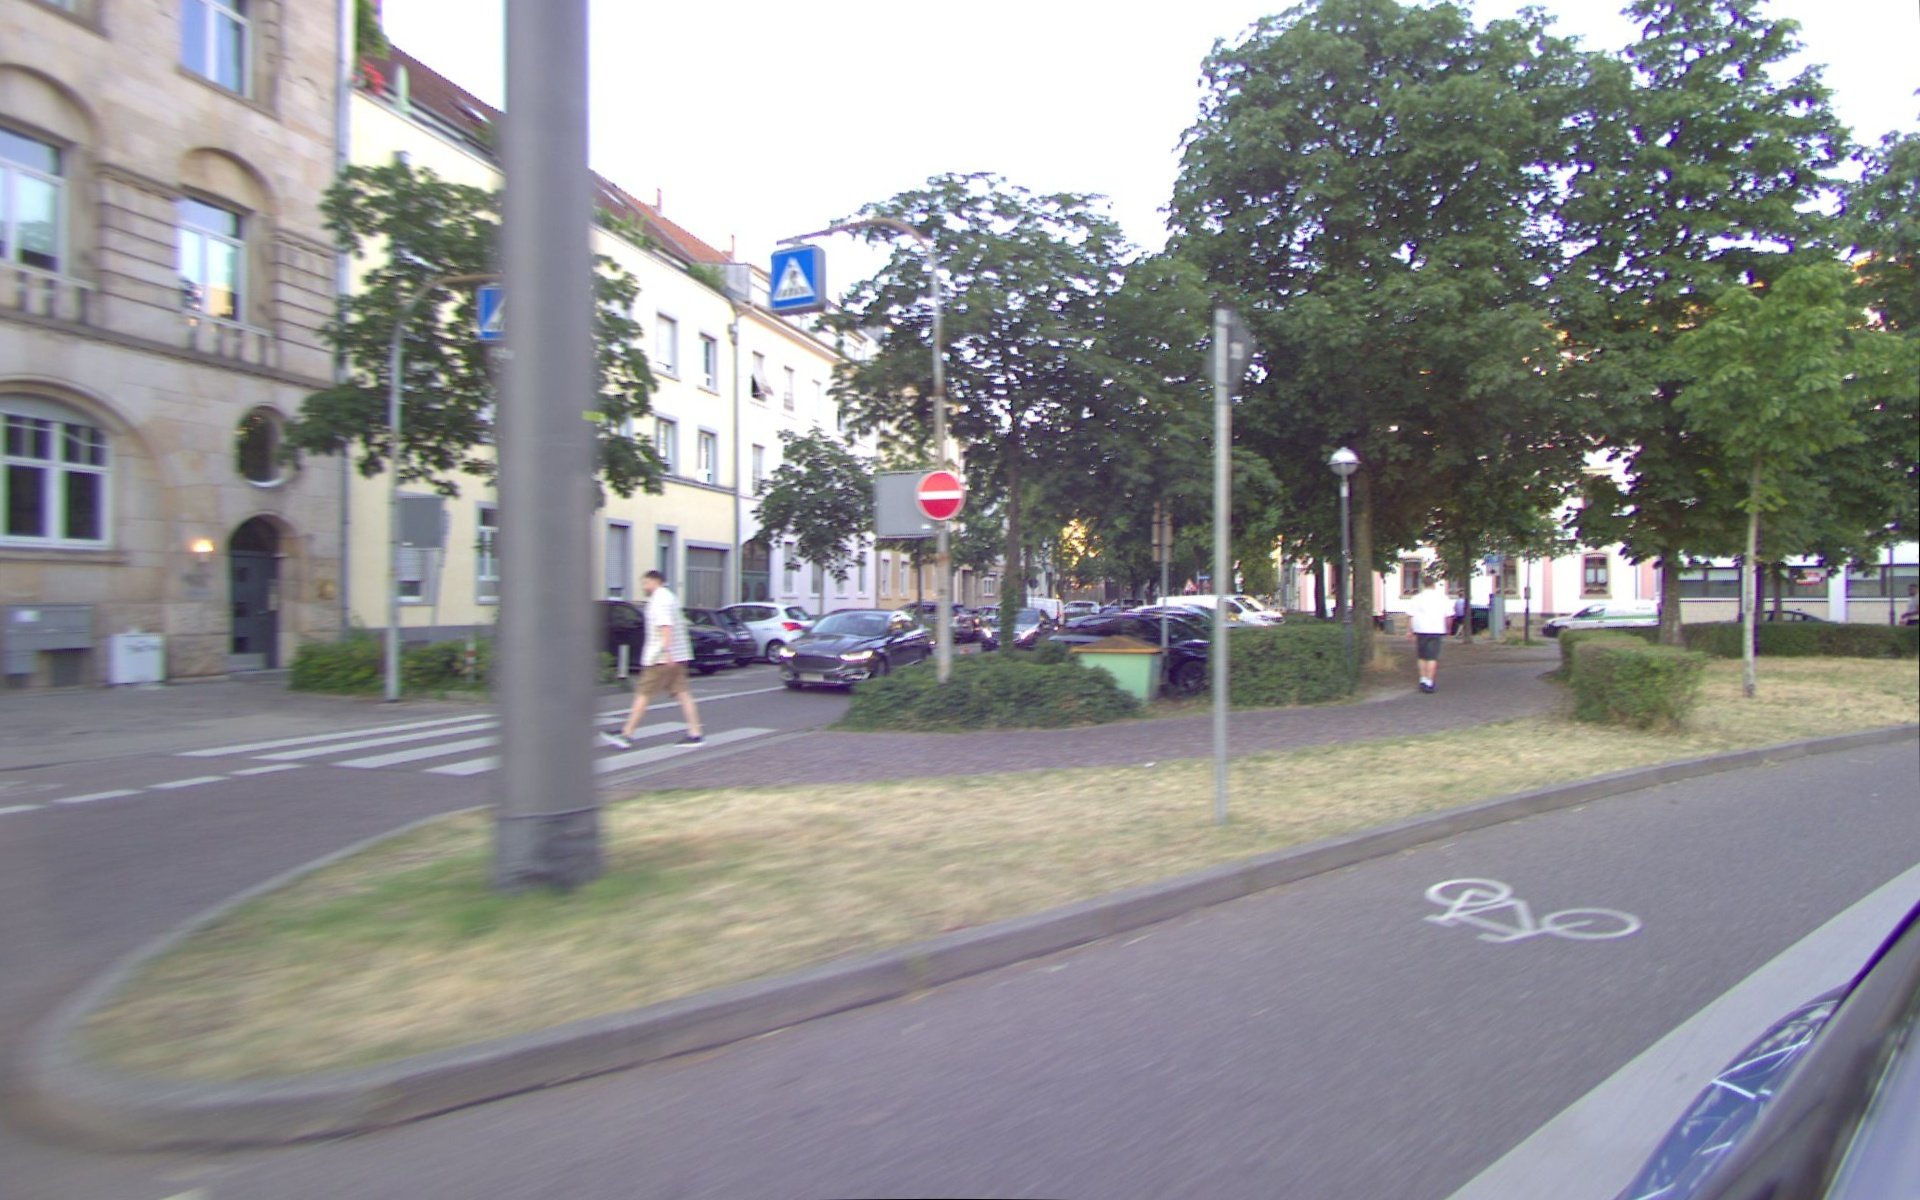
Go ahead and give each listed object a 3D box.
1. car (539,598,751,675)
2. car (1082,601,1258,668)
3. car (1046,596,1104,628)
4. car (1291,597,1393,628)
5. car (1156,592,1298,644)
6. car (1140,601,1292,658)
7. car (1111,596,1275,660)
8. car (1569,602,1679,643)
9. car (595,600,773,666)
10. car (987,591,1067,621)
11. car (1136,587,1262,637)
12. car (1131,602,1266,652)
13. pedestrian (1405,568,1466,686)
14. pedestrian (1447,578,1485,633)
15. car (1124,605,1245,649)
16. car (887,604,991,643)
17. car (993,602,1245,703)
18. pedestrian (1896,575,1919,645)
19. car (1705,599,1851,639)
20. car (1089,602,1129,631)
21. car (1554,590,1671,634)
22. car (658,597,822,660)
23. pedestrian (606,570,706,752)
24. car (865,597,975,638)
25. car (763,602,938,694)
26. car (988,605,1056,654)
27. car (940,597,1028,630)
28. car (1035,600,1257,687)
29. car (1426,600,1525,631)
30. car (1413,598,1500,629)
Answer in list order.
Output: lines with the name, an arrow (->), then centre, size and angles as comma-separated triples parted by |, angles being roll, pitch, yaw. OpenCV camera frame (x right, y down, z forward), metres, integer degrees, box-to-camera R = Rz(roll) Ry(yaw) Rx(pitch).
car -> -7.120, 0.775, 22.923 | 4.343, 1.578, 1.826 | 1, -1, 20
car -> 5.415, 0.847, 26.226 | 4.039, 1.571, 1.976 | 0, -1, 33
car -> 8.592, 0.906, 75.621 | 4.013, 2.323, 1.989 | 1, -1, 17
car -> 18.723, 0.582, 49.672 | 4.372, 1.437, 1.704 | 0, -1, 38
car -> 10.471, 0.666, 39.932 | 5.061, 1.927, 2.089 | 0, -1, 41
car -> 7.672, 0.842, 30.377 | 4.039, 1.571, 1.976 | 0, -1, 33
car -> 6.441, 0.744, 28.089 | 4.039, 1.639, 1.976 | 0, -1, 33
car -> 29.947, 0.977, 45.688 | 3.994, 1.747, 1.677 | 0, -1, 40
car -> -6.926, 0.799, 25.475 | 4.016, 1.504, 1.826 | 1, -1, 19
car -> 3.871, 0.359, 58.437 | 4.339, 1.633, 1.720 | 1, -1, 17
car -> 10.389, 0.502, 44.191 | 5.061, 2.048, 1.938 | 0, -1, 41
car -> 8.064, 0.884, 34.329 | 4.039, 1.571, 1.976 | 0, -1, 33
pedestrian -> 7.222, 0.393, 15.392 | 0.760, 1.738, 0.780 | 0, -1, 21
pedestrian -> 19.073, 0.224, 38.119 | 0.988, 2.039, 0.831 | 1, -1, -21
car -> 8.490, 0.989, 38.322 | 4.039, 1.571, 1.976 | 0, -1, 33
car -> -0.864, 0.984, 43.059 | 4.013, 1.571, 1.989 | 1, -1, 17
car -> 2.783, 0.856, 17.984 | 4.039, 1.576, 1.843 | 0, -1, 33
pedestrian -> 22.774, 0.242, 23.957 | 0.638, 1.646, 0.614 | 1, -1, -4
car -> 31.335, 0.690, 38.927 | 4.300, 1.427, 1.782 | 0, 1, 38
car -> 8.221, 0.899, 55.579 | 1.795, 1.501, 4.116 | 1, -1, 14
car -> 27.357, 0.493, 42.473 | 3.992, 1.747, 1.678 | 0, -1, 38
car -> -5.952, 0.745, 27.495 | 4.018, 1.590, 1.825 | 1, -1, 20
pedestrian -> -3.192, 0.617, 10.631 | 0.807, 1.815, 0.591 | 2, -2, -40
car -> -1.587, 0.684, 40.663 | 4.013, 1.571, 1.989 | 1, -1, 17
car -> -1.894, 0.821, 18.882 | 1.796, 1.501, 4.112 | 1, -1, 17
car -> 2.127, 0.934, 33.673 | 1.792, 1.501, 4.122 | 1, -1, 10
car -> 1.187, 0.679, 51.171 | 4.039, 1.571, 1.976 | 0, -1, 33
car -> 3.728, 0.813, 20.492 | 4.039, 1.576, 1.843 | 0, -1, 33
car -> 23.331, 0.687, 45.869 | 3.763, 1.353, 1.704 | 0, -1, 38
car -> 24.981, 0.665, 50.938 | 3.659, 1.468, 1.677 | 0, -1, 40
